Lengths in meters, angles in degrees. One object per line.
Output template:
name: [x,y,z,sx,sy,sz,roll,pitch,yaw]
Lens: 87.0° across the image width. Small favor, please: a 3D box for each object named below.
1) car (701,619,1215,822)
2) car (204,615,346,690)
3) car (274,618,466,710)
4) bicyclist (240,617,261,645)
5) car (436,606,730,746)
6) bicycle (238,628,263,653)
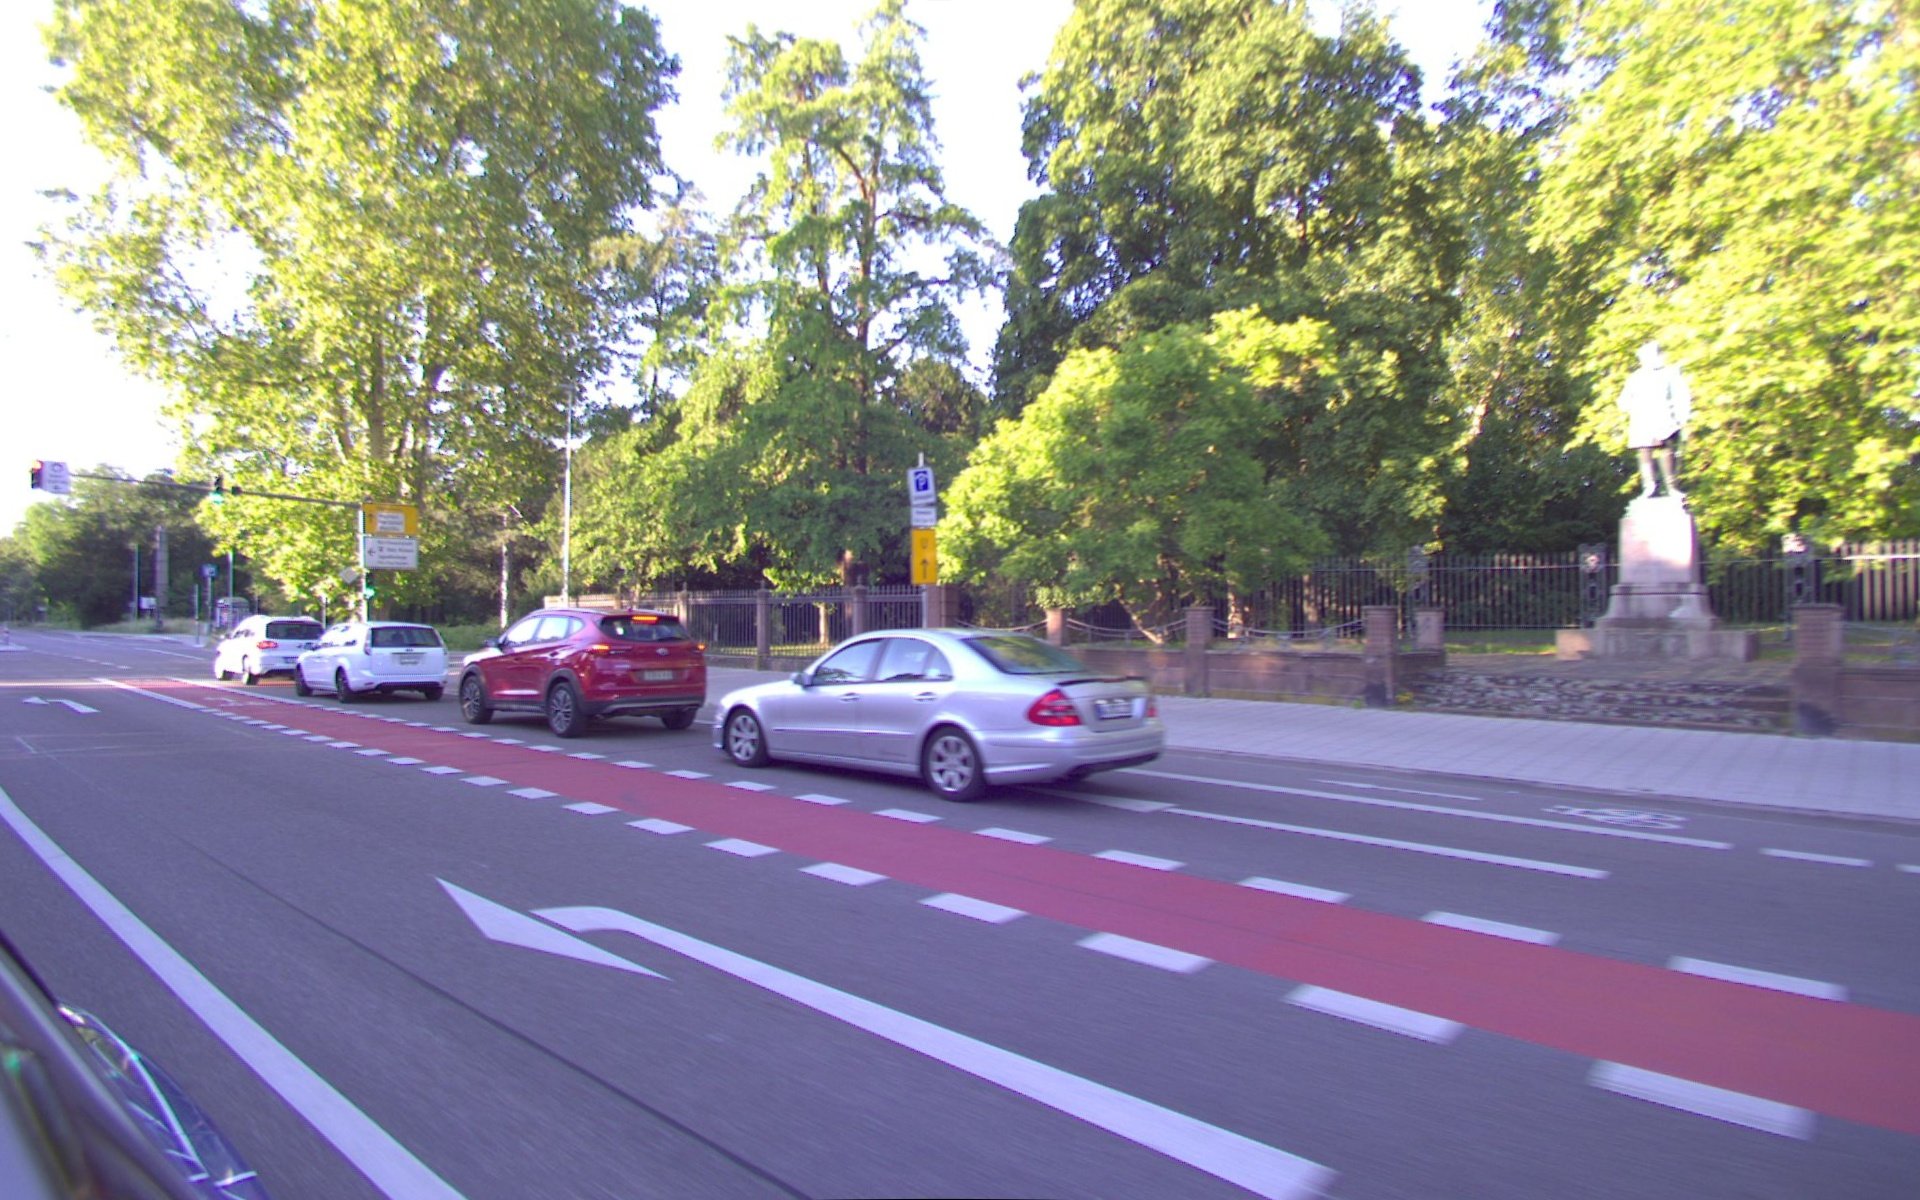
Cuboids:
car: [-0.237,0.926,9.456,4.769,1.429,1.896,-1,-3,42]
car: [-17.242,1.275,25.400,4.425,1.708,1.896,-1,-3,42]
car: [-11.653,1.190,19.867,4.673,1.595,1.896,-1,-3,42]
bicyclist: [-37.145,1.620,53.006,0.780,1.438,0.893,0,-1,-44]
car: [-5.389,0.972,14.145,4.638,1.637,1.896,-1,-3,42]
bicycle: [-37.156,2.124,53.014,0.780,1.266,1.981,0,-1,-44]
